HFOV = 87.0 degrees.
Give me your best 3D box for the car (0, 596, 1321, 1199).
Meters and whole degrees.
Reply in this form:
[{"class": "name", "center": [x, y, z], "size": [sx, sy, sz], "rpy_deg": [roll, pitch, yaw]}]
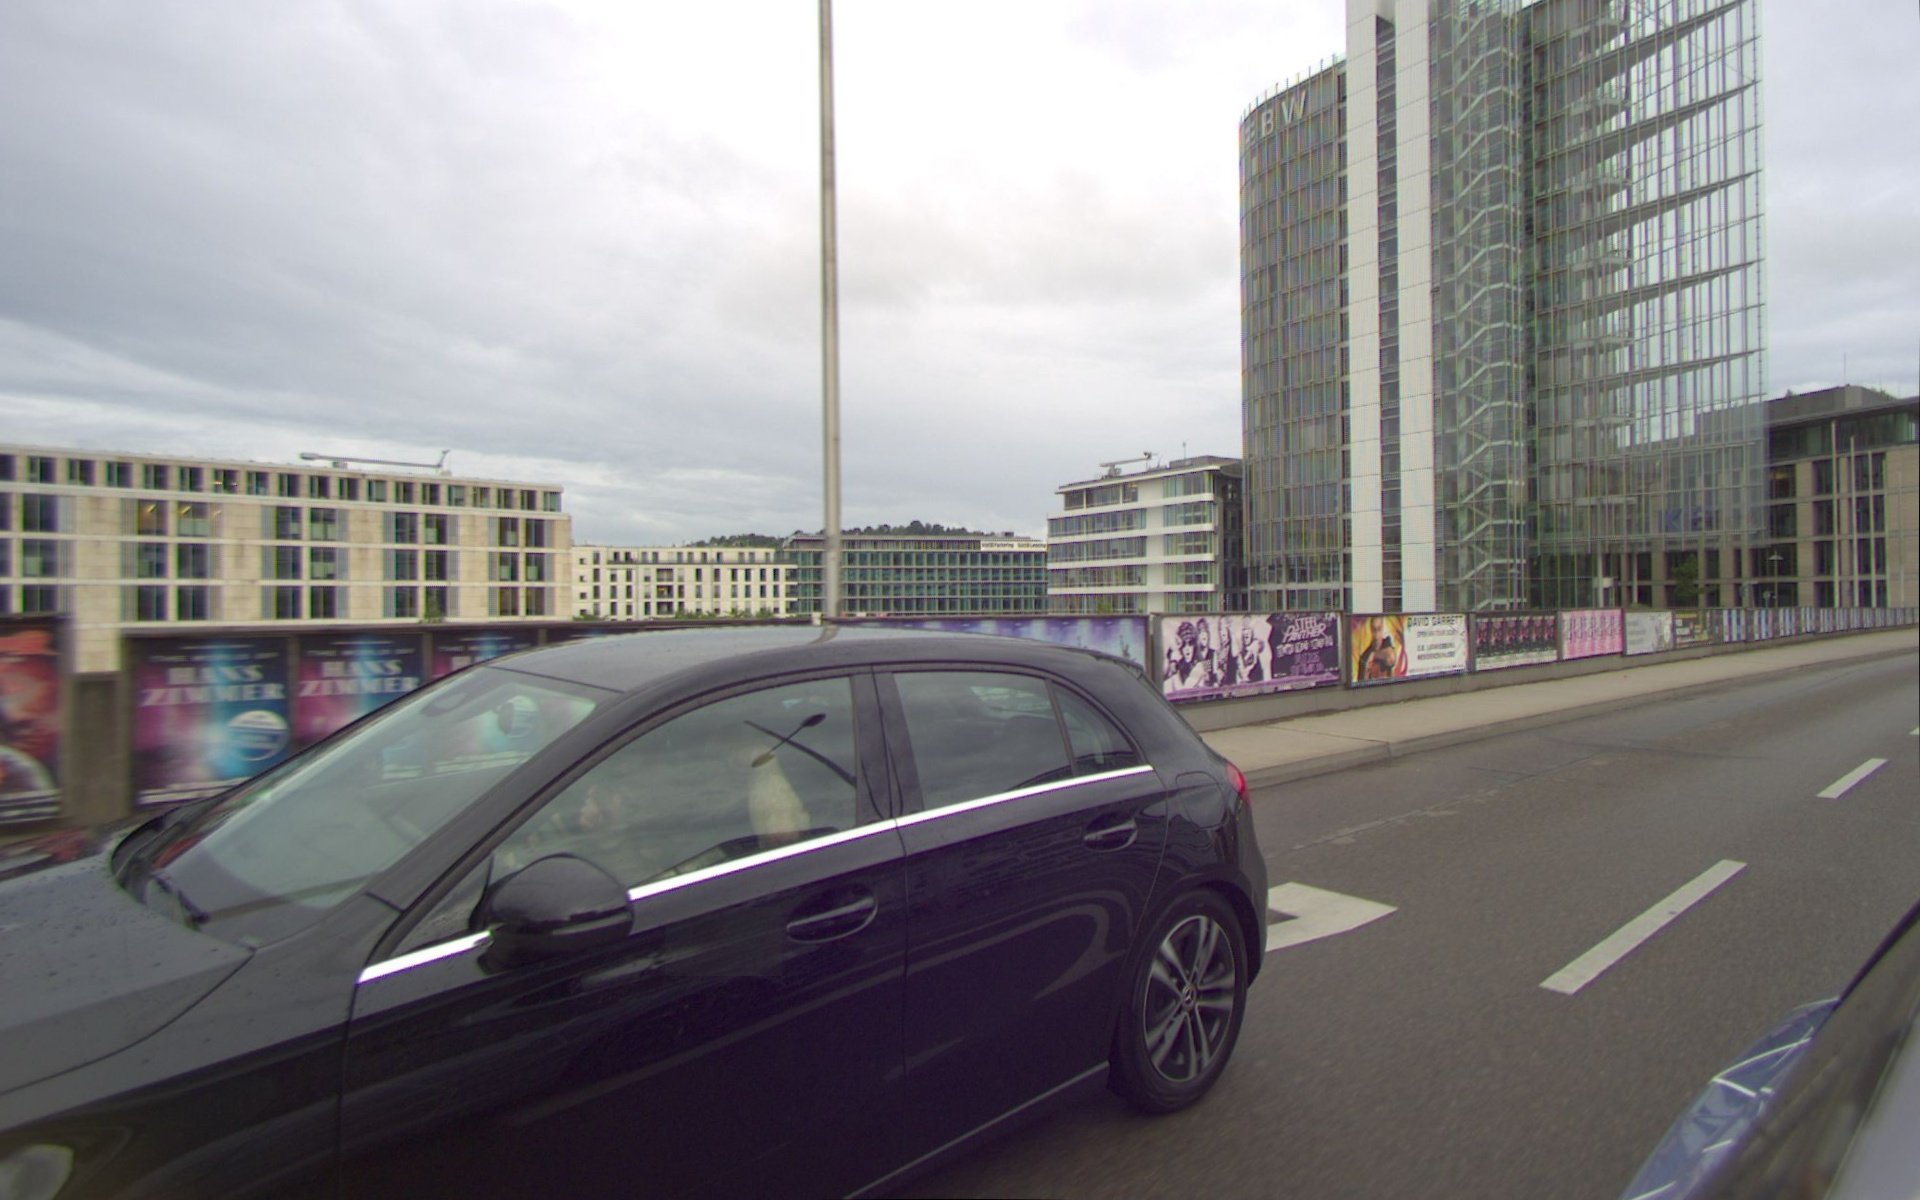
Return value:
[{"class": "car", "center": [-0.855, 0.724, 2.645], "size": [4.086, 1.393, 1.725], "rpy_deg": [-1, 1, -43]}]
